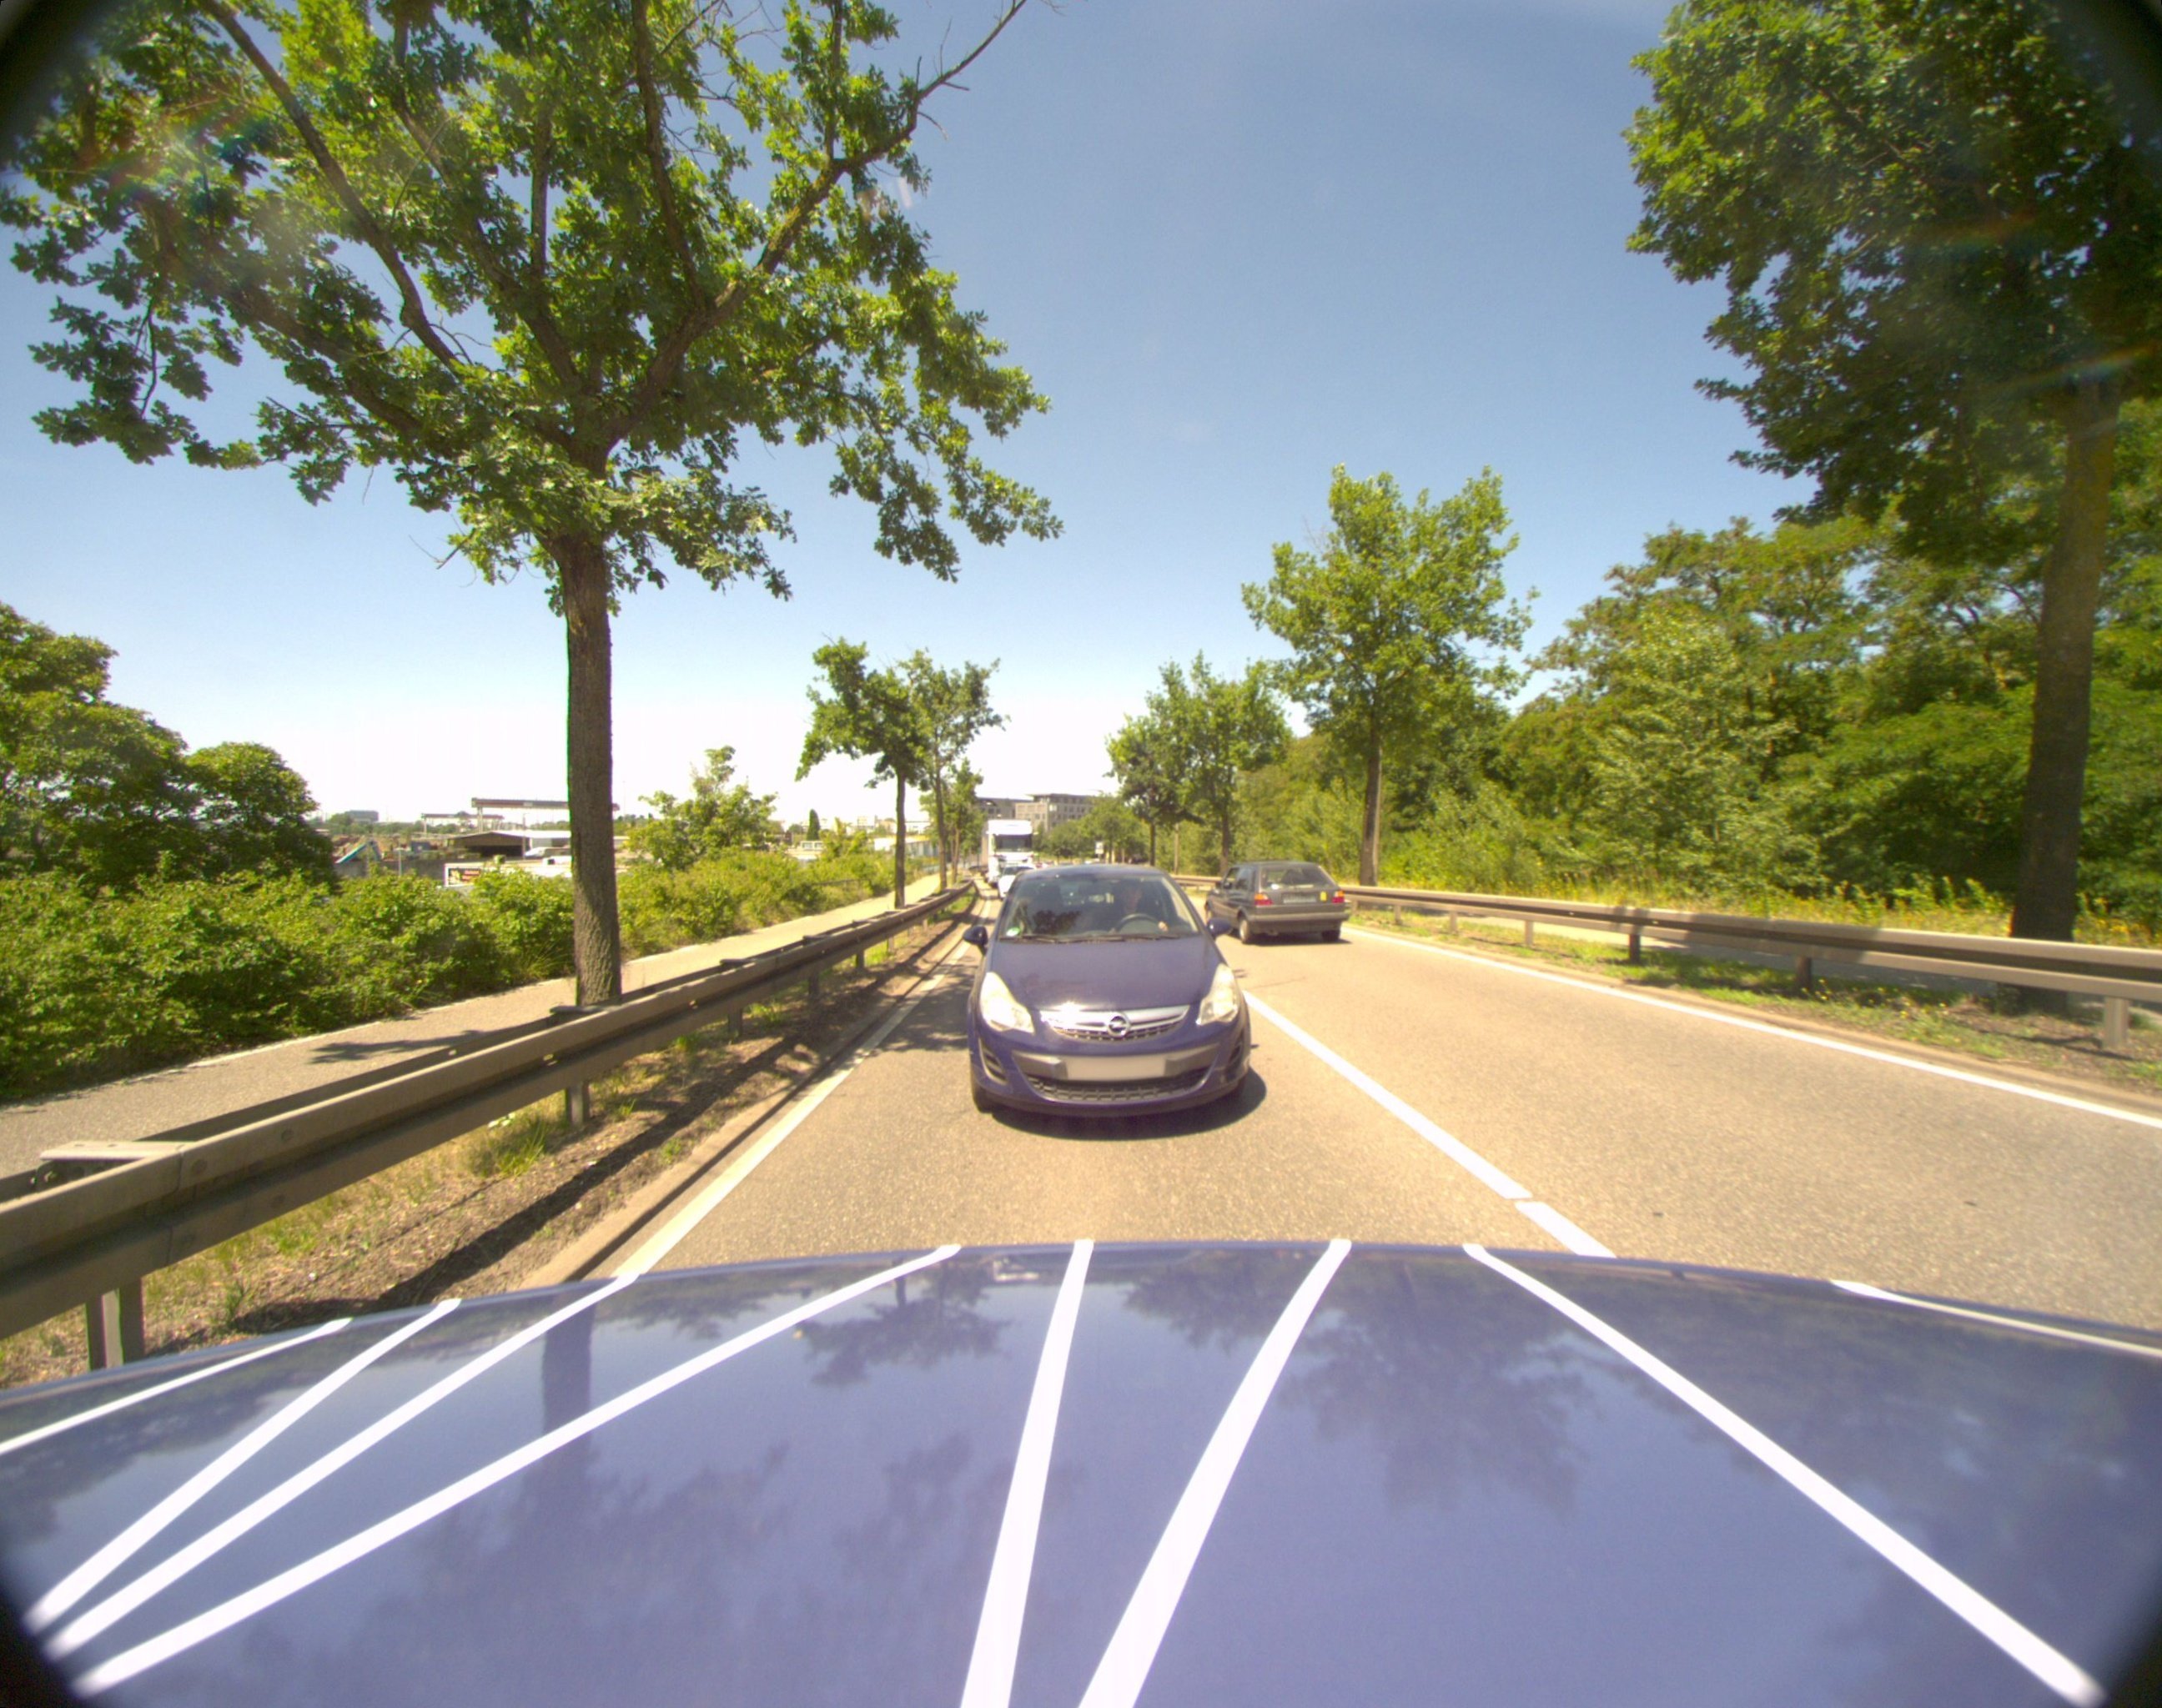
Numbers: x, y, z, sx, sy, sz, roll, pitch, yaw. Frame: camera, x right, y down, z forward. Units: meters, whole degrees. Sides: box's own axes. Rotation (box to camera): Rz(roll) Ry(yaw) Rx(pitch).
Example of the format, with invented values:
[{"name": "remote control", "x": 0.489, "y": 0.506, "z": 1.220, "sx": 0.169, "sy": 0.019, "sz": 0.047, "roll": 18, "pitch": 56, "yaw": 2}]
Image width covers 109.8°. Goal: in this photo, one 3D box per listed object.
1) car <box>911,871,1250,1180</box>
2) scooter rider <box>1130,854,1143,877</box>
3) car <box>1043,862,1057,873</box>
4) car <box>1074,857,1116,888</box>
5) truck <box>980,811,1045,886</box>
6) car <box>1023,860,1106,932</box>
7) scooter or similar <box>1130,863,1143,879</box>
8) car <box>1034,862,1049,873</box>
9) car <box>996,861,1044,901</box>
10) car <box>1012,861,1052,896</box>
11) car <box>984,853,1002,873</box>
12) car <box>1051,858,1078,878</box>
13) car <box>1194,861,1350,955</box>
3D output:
[{"name": "car", "x": 0.016, "y": 0.941, "z": 5.889, "sx": 1.720, "sy": 1.455, "sz": 3.837, "roll": -2, "pitch": 0, "yaw": 0}, {"name": "scooter rider", "x": 4.049, "y": 0.840, "z": 55.752, "sx": 0.779, "sy": 1.648, "sz": 1.120, "roll": -2, "pitch": 1, "yaw": -4}, {"name": "car", "x": -6.056, "y": 2.540, "z": 148.752, "sx": 1.779, "sy": 2.002, "sz": 4.002, "roll": -2, "pitch": 0, "yaw": 9}, {"name": "car", "x": 0.720, "y": 0.982, "z": 41.744, "sx": 1.755, "sy": 1.546, "sz": 4.124, "roll": -2, "pitch": 0, "yaw": -7}, {"name": "truck", "x": -5.002, "y": -0.322, "z": 51.867, "sx": 3.073, "sy": 4.146, "sz": 16.897, "roll": -2, "pitch": 0, "yaw": -9}, {"name": "car", "x": -0.418, "y": 0.943, "z": 18.788, "sx": 1.780, "sy": 1.498, "sz": 3.895, "roll": -2, "pitch": 0, "yaw": -2}, {"name": "scooter or similar", "x": 4.096, "y": 1.258, "z": 55.748, "sx": 0.779, "sy": 1.085, "sz": 1.094, "roll": -2, "pitch": 1, "yaw": -4}, {"name": "car", "x": -7.262, "y": 2.449, "z": 139.481, "sx": 1.779, "sy": 2.002, "sz": 4.002, "roll": -2, "pitch": 0, "yaw": 9}, {"name": "car", "x": -2.426, "y": 1.050, "z": 30.649, "sx": 1.781, "sy": 1.398, "sz": 3.998, "roll": -2, "pitch": 0, "yaw": -4}, {"name": "car", "x": -2.577, "y": 1.217, "z": 39.162, "sx": 1.781, "sy": 1.569, "sz": 3.997, "roll": -2, "pitch": 0, "yaw": -7}, {"name": "car", "x": -9.136, "y": 0.929, "z": 78.653, "sx": 1.781, "sy": 2.002, "sz": 3.997, "roll": -2, "pitch": 0, "yaw": -8}, {"name": "car", "x": -1.467, "y": 1.221, "z": 66.261, "sx": 1.875, "sy": 1.594, "sz": 4.390, "roll": -2, "pitch": 0, "yaw": -8}, {"name": "car", "x": 3.300, "y": 0.868, "z": 13.882, "sx": 1.561, "sy": 1.364, "sz": 3.887, "roll": -2, "pitch": 0, "yaw": -5}]
